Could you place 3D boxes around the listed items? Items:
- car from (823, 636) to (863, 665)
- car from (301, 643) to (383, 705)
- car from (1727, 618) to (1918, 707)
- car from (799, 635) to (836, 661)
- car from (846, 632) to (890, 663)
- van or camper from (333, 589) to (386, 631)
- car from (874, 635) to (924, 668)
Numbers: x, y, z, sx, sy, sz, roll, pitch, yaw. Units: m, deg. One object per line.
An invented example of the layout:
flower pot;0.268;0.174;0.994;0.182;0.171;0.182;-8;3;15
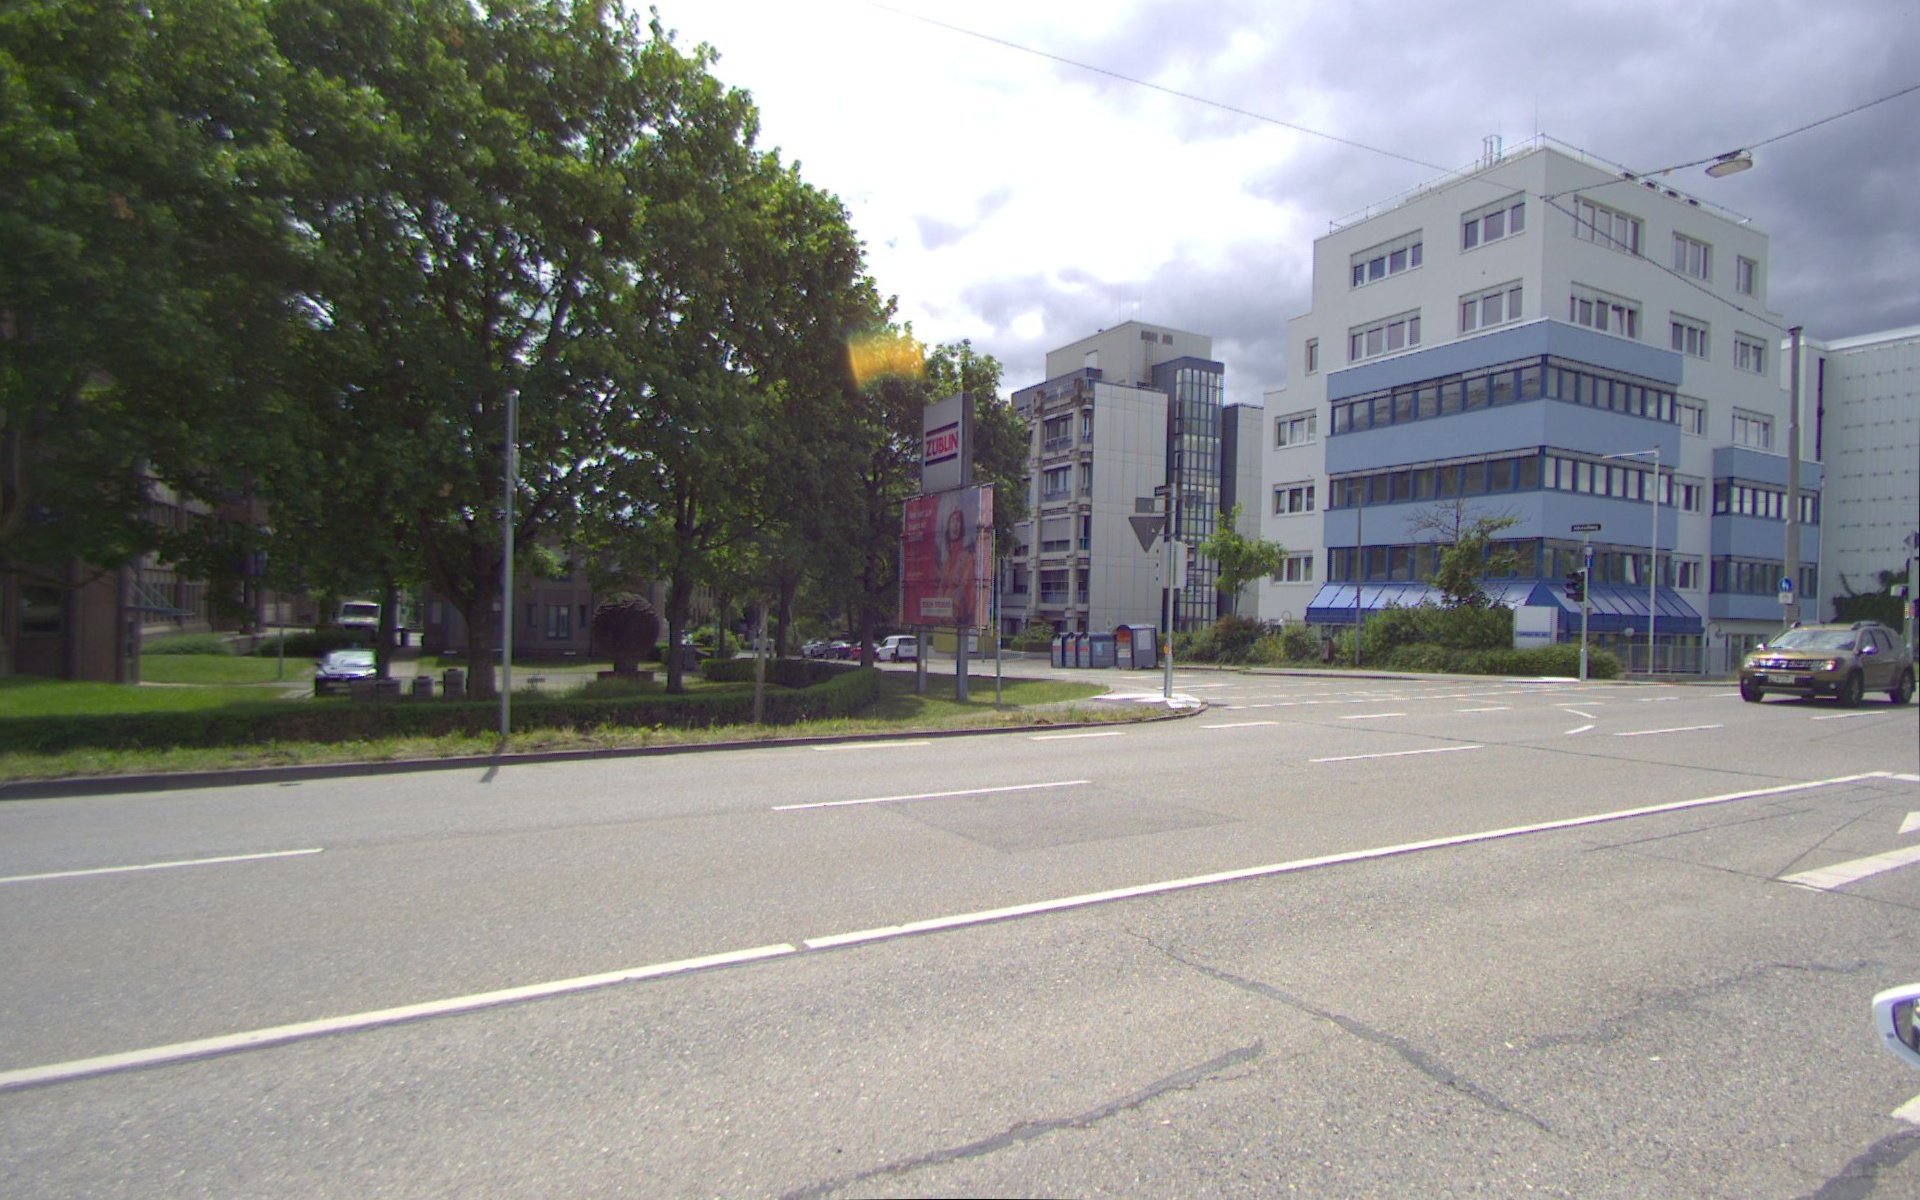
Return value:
car;-9.054;3.863;77.608;1.848;2.040;3.973;2;-1;-26
car;-19.377;2.270;31.647;1.763;1.750;3.974;2;-2;-26
car;17.501;1.232;20.361;3.953;1.652;1.743;2;-2;-30
car;-11.768;3.946;82.927;1.875;1.919;3.973;2;-1;-26
car;-6.691;3.415;72.689;1.868;2.040;3.974;2;-1;-26
van or camper;-32.983;0.543;55.125;2.332;2.132;5.160;2;-1;-31
car;-4.128;3.465;67.794;1.974;2.006;3.974;2;-1;-26
